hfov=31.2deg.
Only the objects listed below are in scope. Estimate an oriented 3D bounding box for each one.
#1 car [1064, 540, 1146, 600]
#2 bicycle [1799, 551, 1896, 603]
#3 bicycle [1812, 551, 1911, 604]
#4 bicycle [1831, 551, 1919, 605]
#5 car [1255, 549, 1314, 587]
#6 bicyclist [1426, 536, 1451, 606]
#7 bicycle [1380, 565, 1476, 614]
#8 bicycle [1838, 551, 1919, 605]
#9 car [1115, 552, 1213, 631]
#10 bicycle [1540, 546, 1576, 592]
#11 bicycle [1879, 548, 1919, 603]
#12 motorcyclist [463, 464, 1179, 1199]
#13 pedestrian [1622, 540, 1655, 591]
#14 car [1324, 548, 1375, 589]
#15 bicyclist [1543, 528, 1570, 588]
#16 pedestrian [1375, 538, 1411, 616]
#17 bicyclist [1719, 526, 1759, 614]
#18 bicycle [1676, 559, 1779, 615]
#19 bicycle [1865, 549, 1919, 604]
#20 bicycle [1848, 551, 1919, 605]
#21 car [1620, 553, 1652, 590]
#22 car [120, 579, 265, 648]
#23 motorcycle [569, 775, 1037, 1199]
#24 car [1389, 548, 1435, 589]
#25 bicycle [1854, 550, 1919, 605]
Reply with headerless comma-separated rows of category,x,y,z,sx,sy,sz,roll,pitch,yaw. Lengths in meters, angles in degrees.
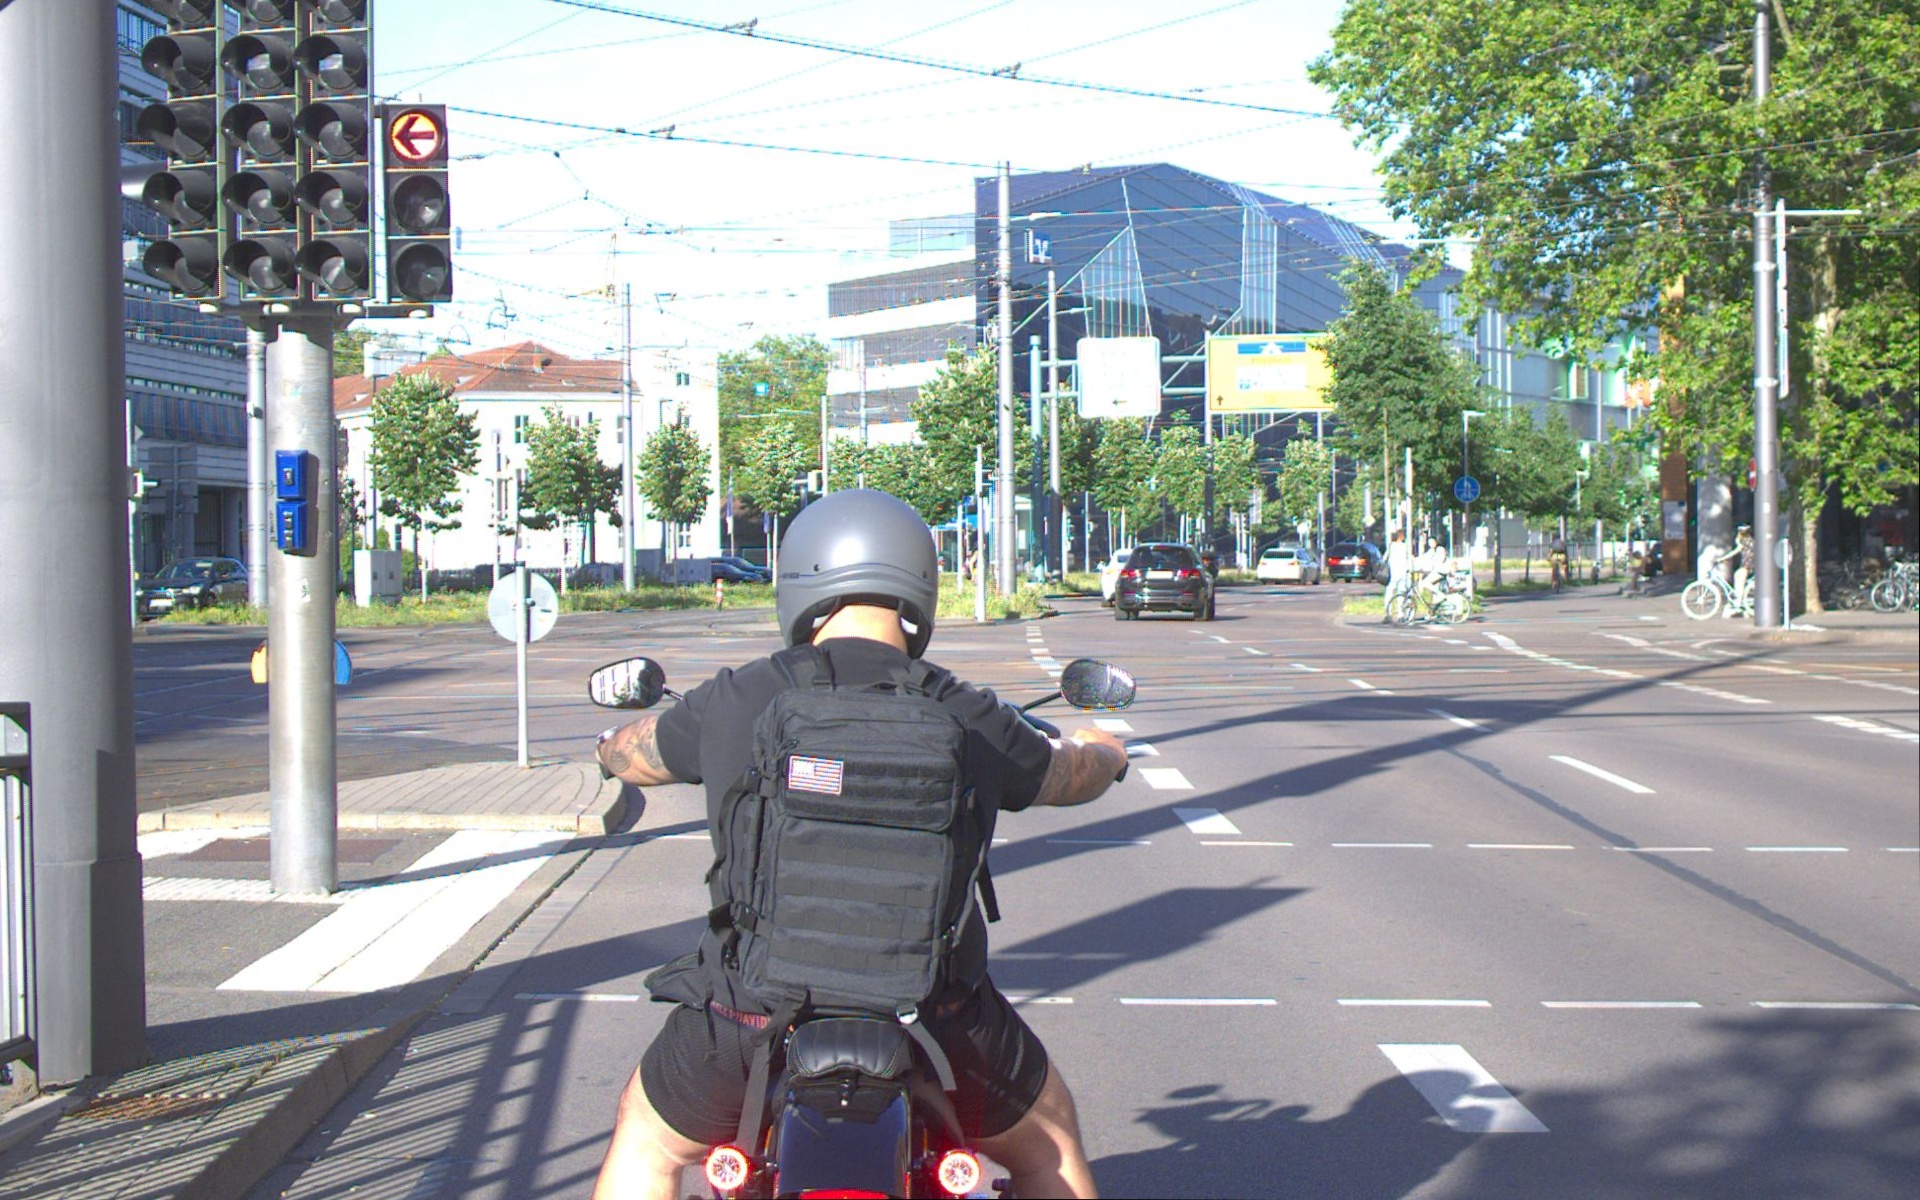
car,3.633,-0.762,85.563,1.803,1.425,4.452,0,1,5
bicycle,18.229,-0.473,70.648,1.880,1.043,0.360,1,1,-1
bicycle,18.215,-0.459,69.496,1.880,1.043,0.360,1,1,-1
bicycle,18.473,-0.445,69.000,1.880,1.043,0.360,1,1,-1
car,12.685,-1.260,134.318,1.804,1.425,4.451,0,1,12
bicyclist,9.334,-0.565,67.102,0.380,1.368,0.345,1,0,-9
bicycle,9.132,-0.209,67.080,1.825,0.922,0.358,1,0,-8
bicycle,18.486,-0.430,68.515,1.880,1.043,0.360,1,0,-1
car,4.332,-0.207,72.444,1.804,1.590,4.452,0,1,7
bicycle,17.858,-0.914,102.756,0.726,1.362,2.917,1,0,3
bicycle,18.559,-0.452,65.729,1.880,1.043,0.360,1,0,-1
motorcyclist,-0.203,0.592,5.417,1.030,1.588,0.873,0,1,-1
pedestrian,17.892,-0.911,90.650,0.819,1.309,0.637,1,0,9
car,16.544,-1.341,145.856,1.804,1.672,4.039,1,0,11
bicyclist,17.873,-1.256,102.954,0.697,1.802,0.728,1,0,4
pedestrian,8.684,-0.462,68.986,0.587,1.551,0.489,1,0,-8
bicyclist,14.763,-0.563,65.175,0.688,1.667,0.540,0,0,19
bicycle,14.565,-0.248,65.242,1.872,1.040,0.536,0,0,19
bicycle,18.508,-0.444,66.511,1.880,1.043,0.360,1,0,-1
bicycle,18.527,-0.426,67.883,1.880,1.043,0.360,1,1,-1
car,34.541,-1.453,175.619,1.531,1.831,3.573,1,0,12
car,-17.512,0.301,78.610,1.750,1.519,3.998,1,0,11
motorcycle,-0.221,0.884,5.576,0.600,1.032,2.234,1,1,-1
car,20.551,-1.414,156.269,1.730,1.831,3.573,1,0,12
bicycle,18.496,-0.436,67.325,1.880,1.043,0.360,1,0,-1
